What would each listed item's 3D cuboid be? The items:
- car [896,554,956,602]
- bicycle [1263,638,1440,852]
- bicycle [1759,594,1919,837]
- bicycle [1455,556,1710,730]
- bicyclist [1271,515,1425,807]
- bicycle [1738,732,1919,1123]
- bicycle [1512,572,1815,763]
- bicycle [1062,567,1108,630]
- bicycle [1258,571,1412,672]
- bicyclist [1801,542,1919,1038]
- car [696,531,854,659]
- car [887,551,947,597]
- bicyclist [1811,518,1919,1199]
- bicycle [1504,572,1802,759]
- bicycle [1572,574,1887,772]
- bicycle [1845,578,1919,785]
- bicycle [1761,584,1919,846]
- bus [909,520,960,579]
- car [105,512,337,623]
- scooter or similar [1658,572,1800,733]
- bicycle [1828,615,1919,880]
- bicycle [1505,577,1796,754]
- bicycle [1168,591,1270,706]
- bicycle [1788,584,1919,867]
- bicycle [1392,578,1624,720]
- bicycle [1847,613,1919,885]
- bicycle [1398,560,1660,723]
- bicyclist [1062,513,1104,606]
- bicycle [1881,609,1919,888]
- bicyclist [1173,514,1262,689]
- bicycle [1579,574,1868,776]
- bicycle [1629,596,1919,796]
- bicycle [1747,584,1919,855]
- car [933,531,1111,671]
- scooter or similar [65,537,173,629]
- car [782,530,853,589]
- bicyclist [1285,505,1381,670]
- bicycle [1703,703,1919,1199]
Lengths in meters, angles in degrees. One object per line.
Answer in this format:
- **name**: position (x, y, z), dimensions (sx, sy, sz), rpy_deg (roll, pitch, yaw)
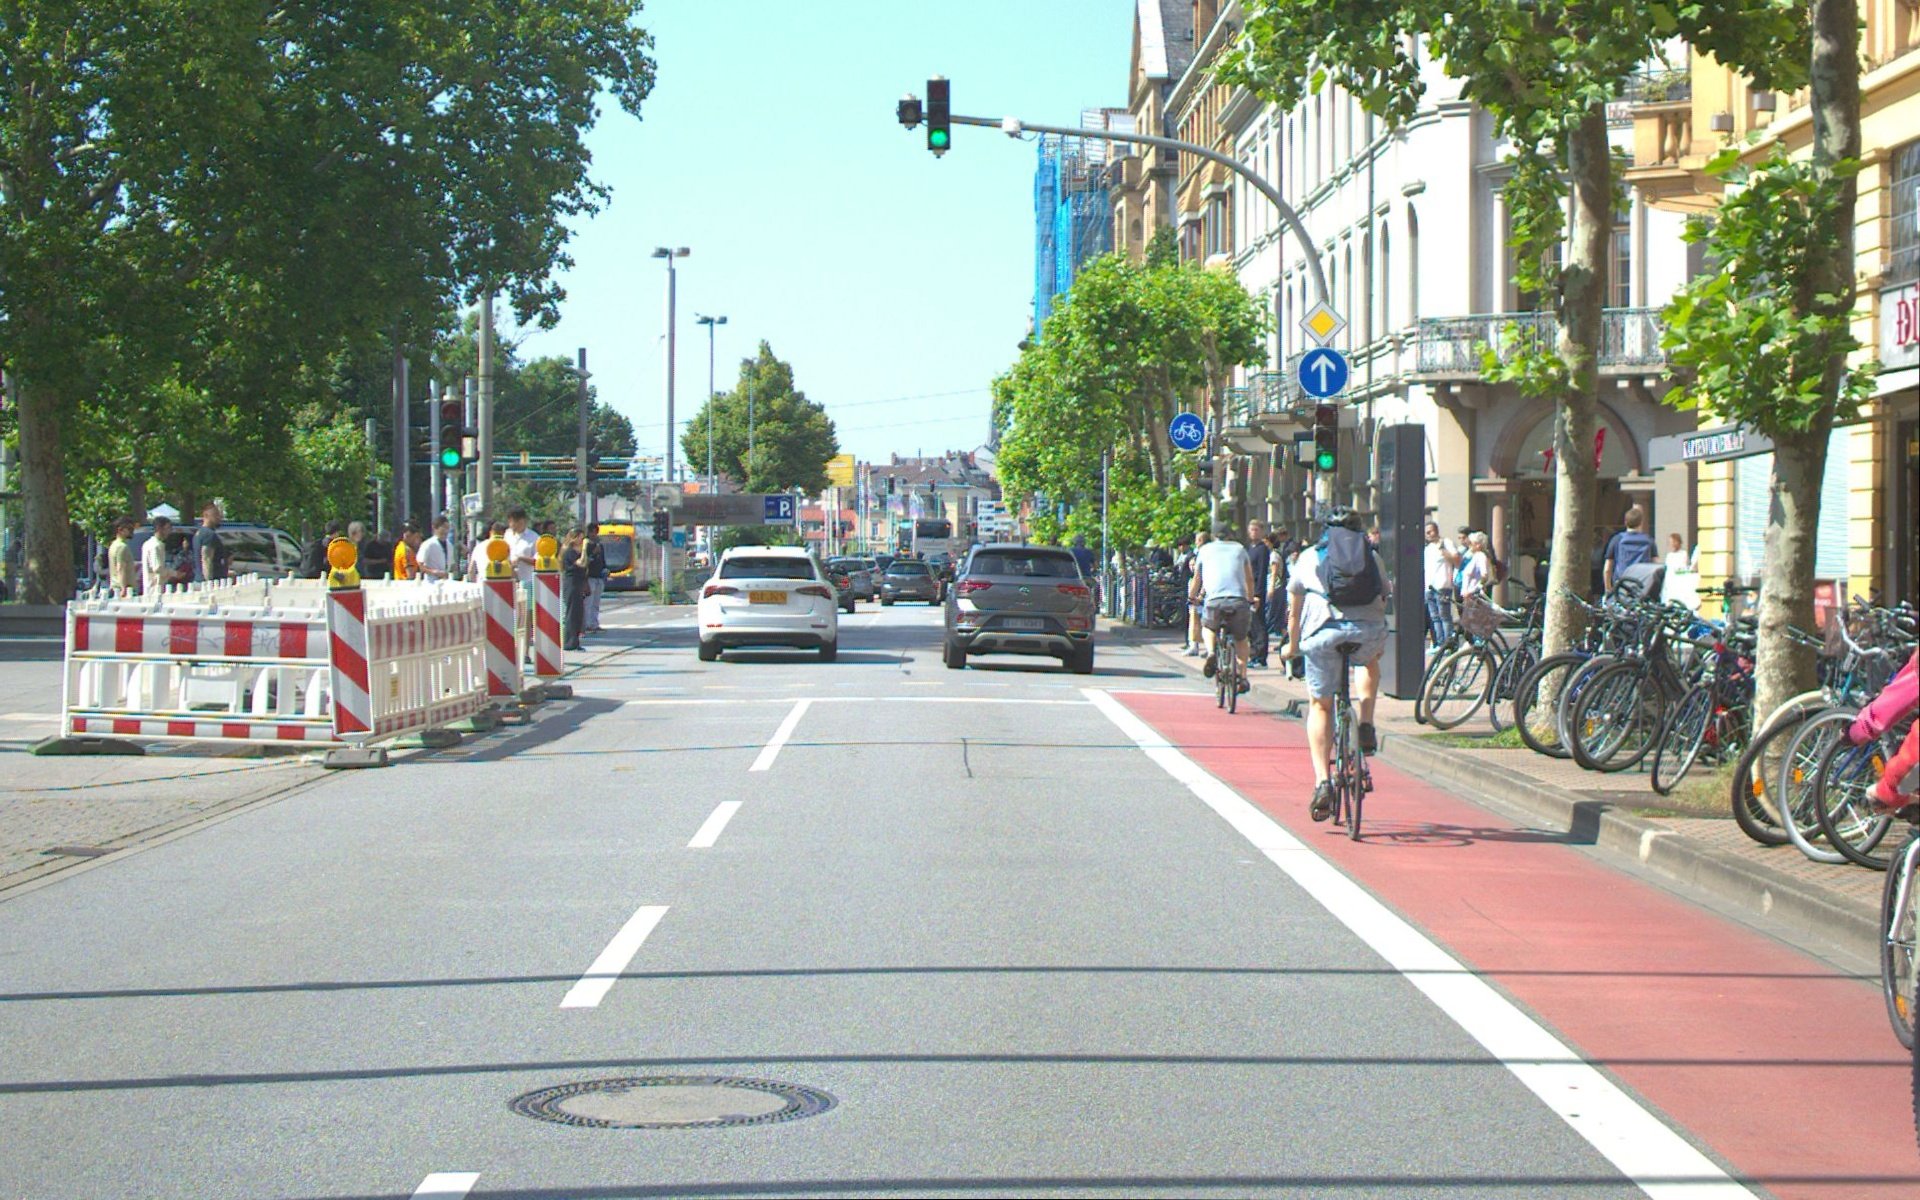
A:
- **car**: position (-1.279, -0.840, 127.829), dimensions (1.844, 1.662, 4.001), rpy_deg (2, 1, -5)
- **bicycle**: position (2.022, 0.725, 17.970), dimensions (0.630, 0.976, 2.089), rpy_deg (0, 1, -1)
- **bicycle**: position (4.829, 0.562, 16.782), dimensions (1.728, 1.158, 0.477), rpy_deg (1, 1, 2)
- **bicycle**: position (4.809, 0.324, 26.566), dimensions (1.820, 1.304, 0.689), rpy_deg (0, 1, -20)
- **bicyclist**: position (2.022, 0.294, 18.035), dimensions (0.630, 1.476, 1.198), rpy_deg (0, 1, -1)
- **bicycle**: position (2.800, 0.902, 9.783), dimensions (0.600, 0.922, 2.088), rpy_deg (0, 1, -3)
- **bicycle**: position (4.538, 0.427, 22.245), dimensions (1.844, 1.197, 0.545), rpy_deg (1, 1, 2)
- **bicycle**: position (2.074, -0.035, 57.204), dimensions (0.647, 0.994, 2.031), rpy_deg (0, 1, -1)
- **bicycle**: position (4.139, 0.230, 38.050), dimensions (0.600, 1.078, 1.839), rpy_deg (-3, 2, -35)
- **bicyclist**: position (2.798, 0.516, 9.770), dimensions (0.600, 1.353, 0.721), rpy_deg (0, 1, -3)
- **car**: position (-2.359, -0.102, 44.658), dimensions (1.845, 1.554, 4.000), rpy_deg (-1, 1, 0)
- **car**: position (-1.389, -0.843, 109.697), dimensions (1.845, 1.409, 4.000), rpy_deg (0, 1, -1)
- **bicyclist**: position (2.297, 0.555, 7.298), dimensions (0.698, 1.436, 0.791), rpy_deg (2, 1, -4)
- **bicycle**: position (4.569, 0.424, 22.751), dimensions (1.844, 1.197, 0.608), rpy_deg (1, 1, 2)
- **bicycle**: position (4.784, 0.446, 21.439), dimensions (1.844, 1.197, 0.474), rpy_deg (1, 1, 2)
- **bicycle**: position (5.665, 0.470, 20.833), dimensions (0.473, 1.184, 1.654), rpy_deg (1, 1, 11)
- **bicycle**: position (4.724, 0.542, 16.295), dimensions (1.728, 1.213, 0.477), rpy_deg (1, 1, 2)
- **bus**: position (-1.621, -3.145, 215.954), dimensions (2.994, 3.581, 11.745), rpy_deg (0, 0, -1)
- **car**: position (-13.395, -0.592, 62.640), dimensions (1.861, 1.948, 4.756), rpy_deg (1, 1, 20)
- **scooter or similar**: position (5.796, 0.383, 25.949), dimensions (0.420, 1.174, 1.232), rpy_deg (0, 1, -21)
- **bicycle**: position (4.646, 0.630, 14.719), dimensions (1.728, 1.105, 0.477), rpy_deg (1, 1, 2)
- **bicycle**: position (4.680, 0.438, 23.382), dimensions (1.844, 1.160, 0.659), rpy_deg (1, 1, 2)
- **bicycle**: position (2.426, 0.436, 32.420), dimensions (0.774, 1.002, 2.329), rpy_deg (0, 1, 0)
- **bicycle**: position (4.559, 0.548, 15.079), dimensions (1.728, 1.213, 0.477), rpy_deg (1, 1, 2)
- **bicycle**: position (4.461, 0.392, 28.045), dimensions (1.781, 1.118, 0.563), rpy_deg (0, 1, -3)
- **bicycle**: position (4.616, 0.622, 14.300), dimensions (1.728, 1.105, 0.402), rpy_deg (1, 1, 2)
- **bicycle**: position (4.494, 0.317, 27.163), dimensions (1.932, 1.253, 0.705), rpy_deg (0, 1, -20)
- **bicyclist**: position (2.056, -0.675, 57.484), dimensions (0.647, 1.545, 0.817), rpy_deg (0, 1, -1)
- **bicycle**: position (4.645, 0.601, 13.885), dimensions (1.728, 1.105, 0.402), rpy_deg (1, 1, 2)
- **bicyclist**: position (2.423, 0.007, 32.393), dimensions (0.774, 1.629, 0.851), rpy_deg (0, 1, 0)
- **bicycle**: position (4.660, 0.451, 21.026), dimensions (1.649, 1.197, 0.474), rpy_deg (1, 1, 2)
- **bicycle**: position (4.682, 0.534, 19.504), dimensions (1.649, 1.091, 0.607), rpy_deg (1, 1, 2)
- **bicycle**: position (4.544, 0.545, 15.804), dimensions (1.728, 1.213, 0.477), rpy_deg (1, 1, 2)
- **car**: position (0.711, -0.030, 42.312), dimensions (1.845, 1.554, 4.001), rpy_deg (3, 1, -3)
- **scooter or similar**: position (-13.233, -0.276, 54.105), dimensions (1.278, 1.416, 1.037), rpy_deg (1, 1, 30)
- **car**: position (-3.833, -1.111, 92.785), dimensions (1.845, 1.554, 4.000), rpy_deg (0, 1, -1)
- **bicyclist**: position (4.126, -0.141, 38.037), dimensions (0.573, 1.791, 0.857), rpy_deg (-3, 1, -35)
- **bicycle**: position (2.276, 0.844, 7.494), dimensions (0.698, 1.123, 2.082), rpy_deg (2, 1, -4)
